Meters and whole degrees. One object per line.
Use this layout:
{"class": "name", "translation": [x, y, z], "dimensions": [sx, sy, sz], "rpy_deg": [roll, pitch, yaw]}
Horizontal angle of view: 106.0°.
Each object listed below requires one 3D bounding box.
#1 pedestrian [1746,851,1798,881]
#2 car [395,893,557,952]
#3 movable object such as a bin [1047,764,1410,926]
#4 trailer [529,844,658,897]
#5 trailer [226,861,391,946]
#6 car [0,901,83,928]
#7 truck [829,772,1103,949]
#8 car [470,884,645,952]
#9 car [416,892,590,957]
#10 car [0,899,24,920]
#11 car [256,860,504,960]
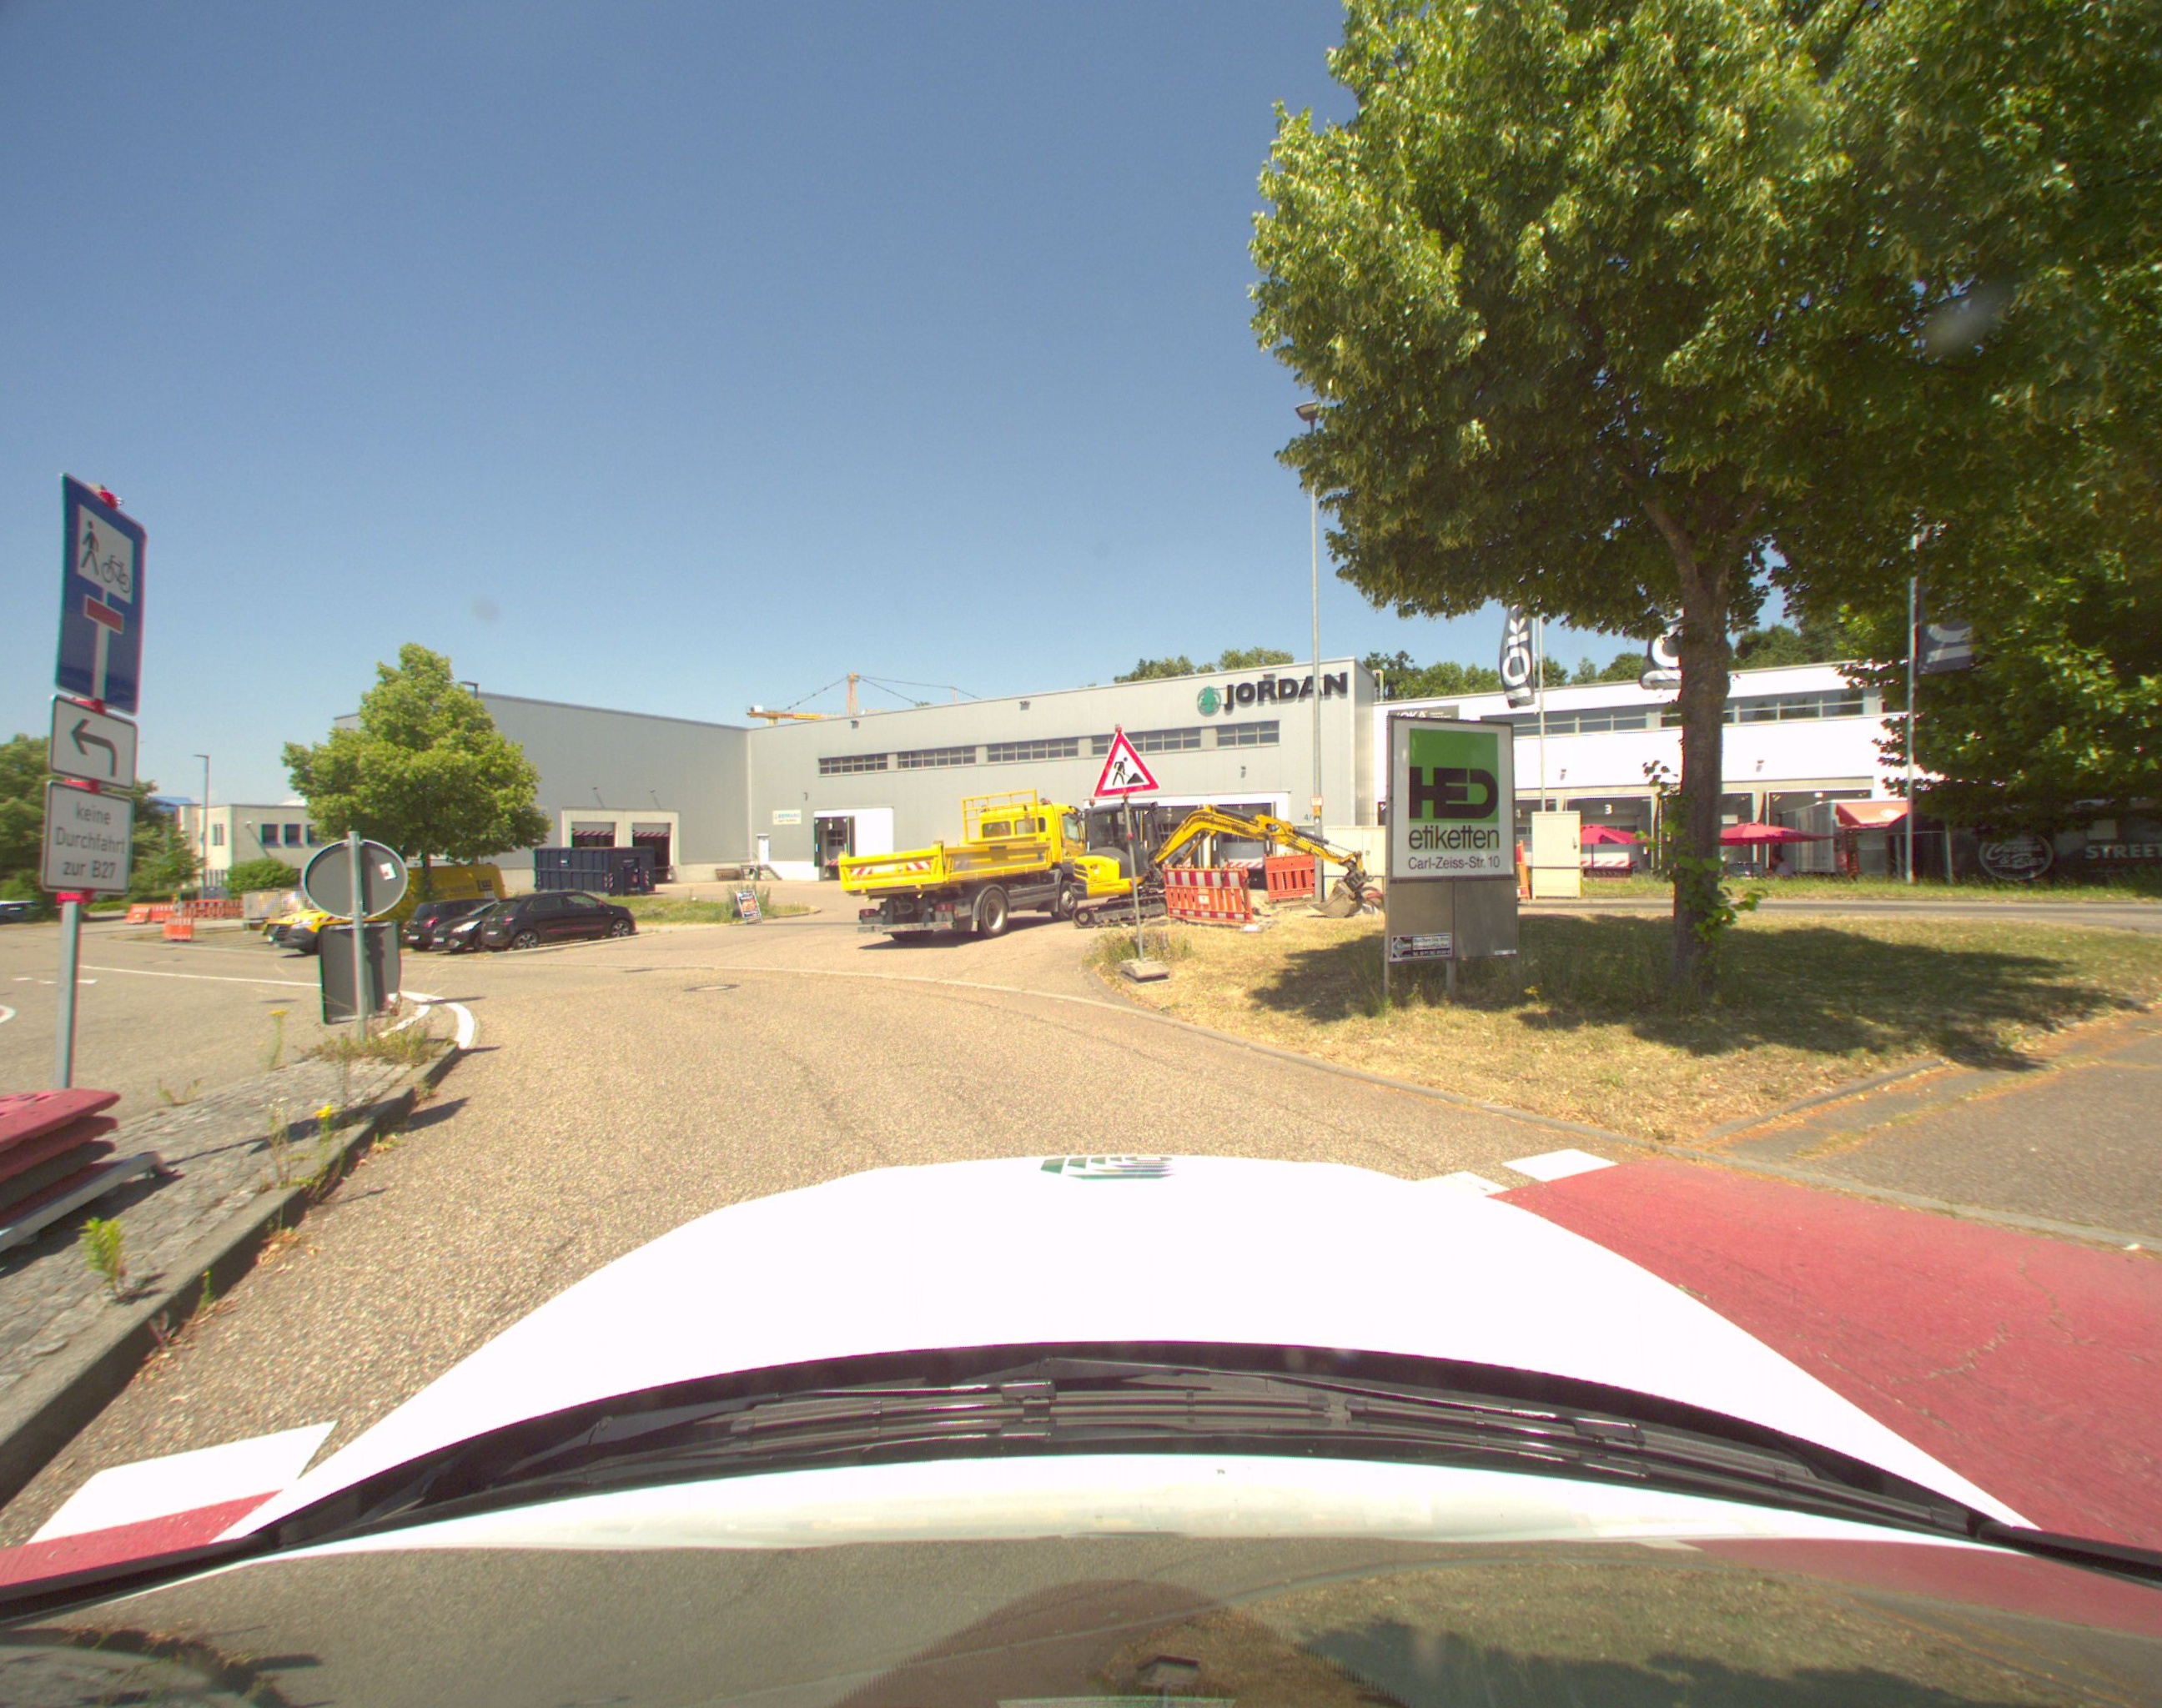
{"class": "pedestrian", "translation": [16.459, 0.292, 19.414], "dimensions": [0.409, 0.695, 0.857], "rpy_deg": [-1, 0, -37]}
{"class": "car", "translation": [-18.601, 2.070, 25.195], "dimensions": [1.607, 1.478, 3.636], "rpy_deg": [-2, 0, 28]}
{"class": "movable object such as a bin", "translation": [2.588, 0.001, 15.614], "dimensions": [6.492, 2.581, 2.013], "rpy_deg": [-3, -2, 35]}
{"class": "trailer", "translation": [-25.578, 0.764, 42.602], "dimensions": [7.319, 2.420, 2.684], "rpy_deg": [2, 1, 32]}
{"class": "trailer", "translation": [-29.368, 1.852, 30.949], "dimensions": [5.451, 2.857, 2.681], "rpy_deg": [-2, 1, 26]}
{"class": "car", "translation": [-67.847, 3.943, 52.727], "dimensions": [1.625, 1.354, 3.713], "rpy_deg": [-2, 2, 26]}
{"class": "truck", "translation": [-2.139, 0.027, 17.945], "dimensions": [2.563, 3.136, 6.464], "rpy_deg": [-4, 1, 26]}
{"class": "car", "translation": [-14.452, 1.707, 22.669], "dimensions": [1.606, 1.462, 3.696], "rpy_deg": [-3, 1, 30]}
{"class": "car", "translation": [-16.681, 1.974, 23.702], "dimensions": [1.570, 1.507, 3.806], "rpy_deg": [-3, 0, 28]}
{"class": "car", "translation": [-76.539, 3.968, 56.538], "dimensions": [1.519, 1.354, 3.549], "rpy_deg": [-2, 2, 26]}
{"class": "car", "translation": [-23.016, 1.694, 27.104], "dimensions": [1.975, 2.732, 5.834], "rpy_deg": [-1, 1, 28]}
